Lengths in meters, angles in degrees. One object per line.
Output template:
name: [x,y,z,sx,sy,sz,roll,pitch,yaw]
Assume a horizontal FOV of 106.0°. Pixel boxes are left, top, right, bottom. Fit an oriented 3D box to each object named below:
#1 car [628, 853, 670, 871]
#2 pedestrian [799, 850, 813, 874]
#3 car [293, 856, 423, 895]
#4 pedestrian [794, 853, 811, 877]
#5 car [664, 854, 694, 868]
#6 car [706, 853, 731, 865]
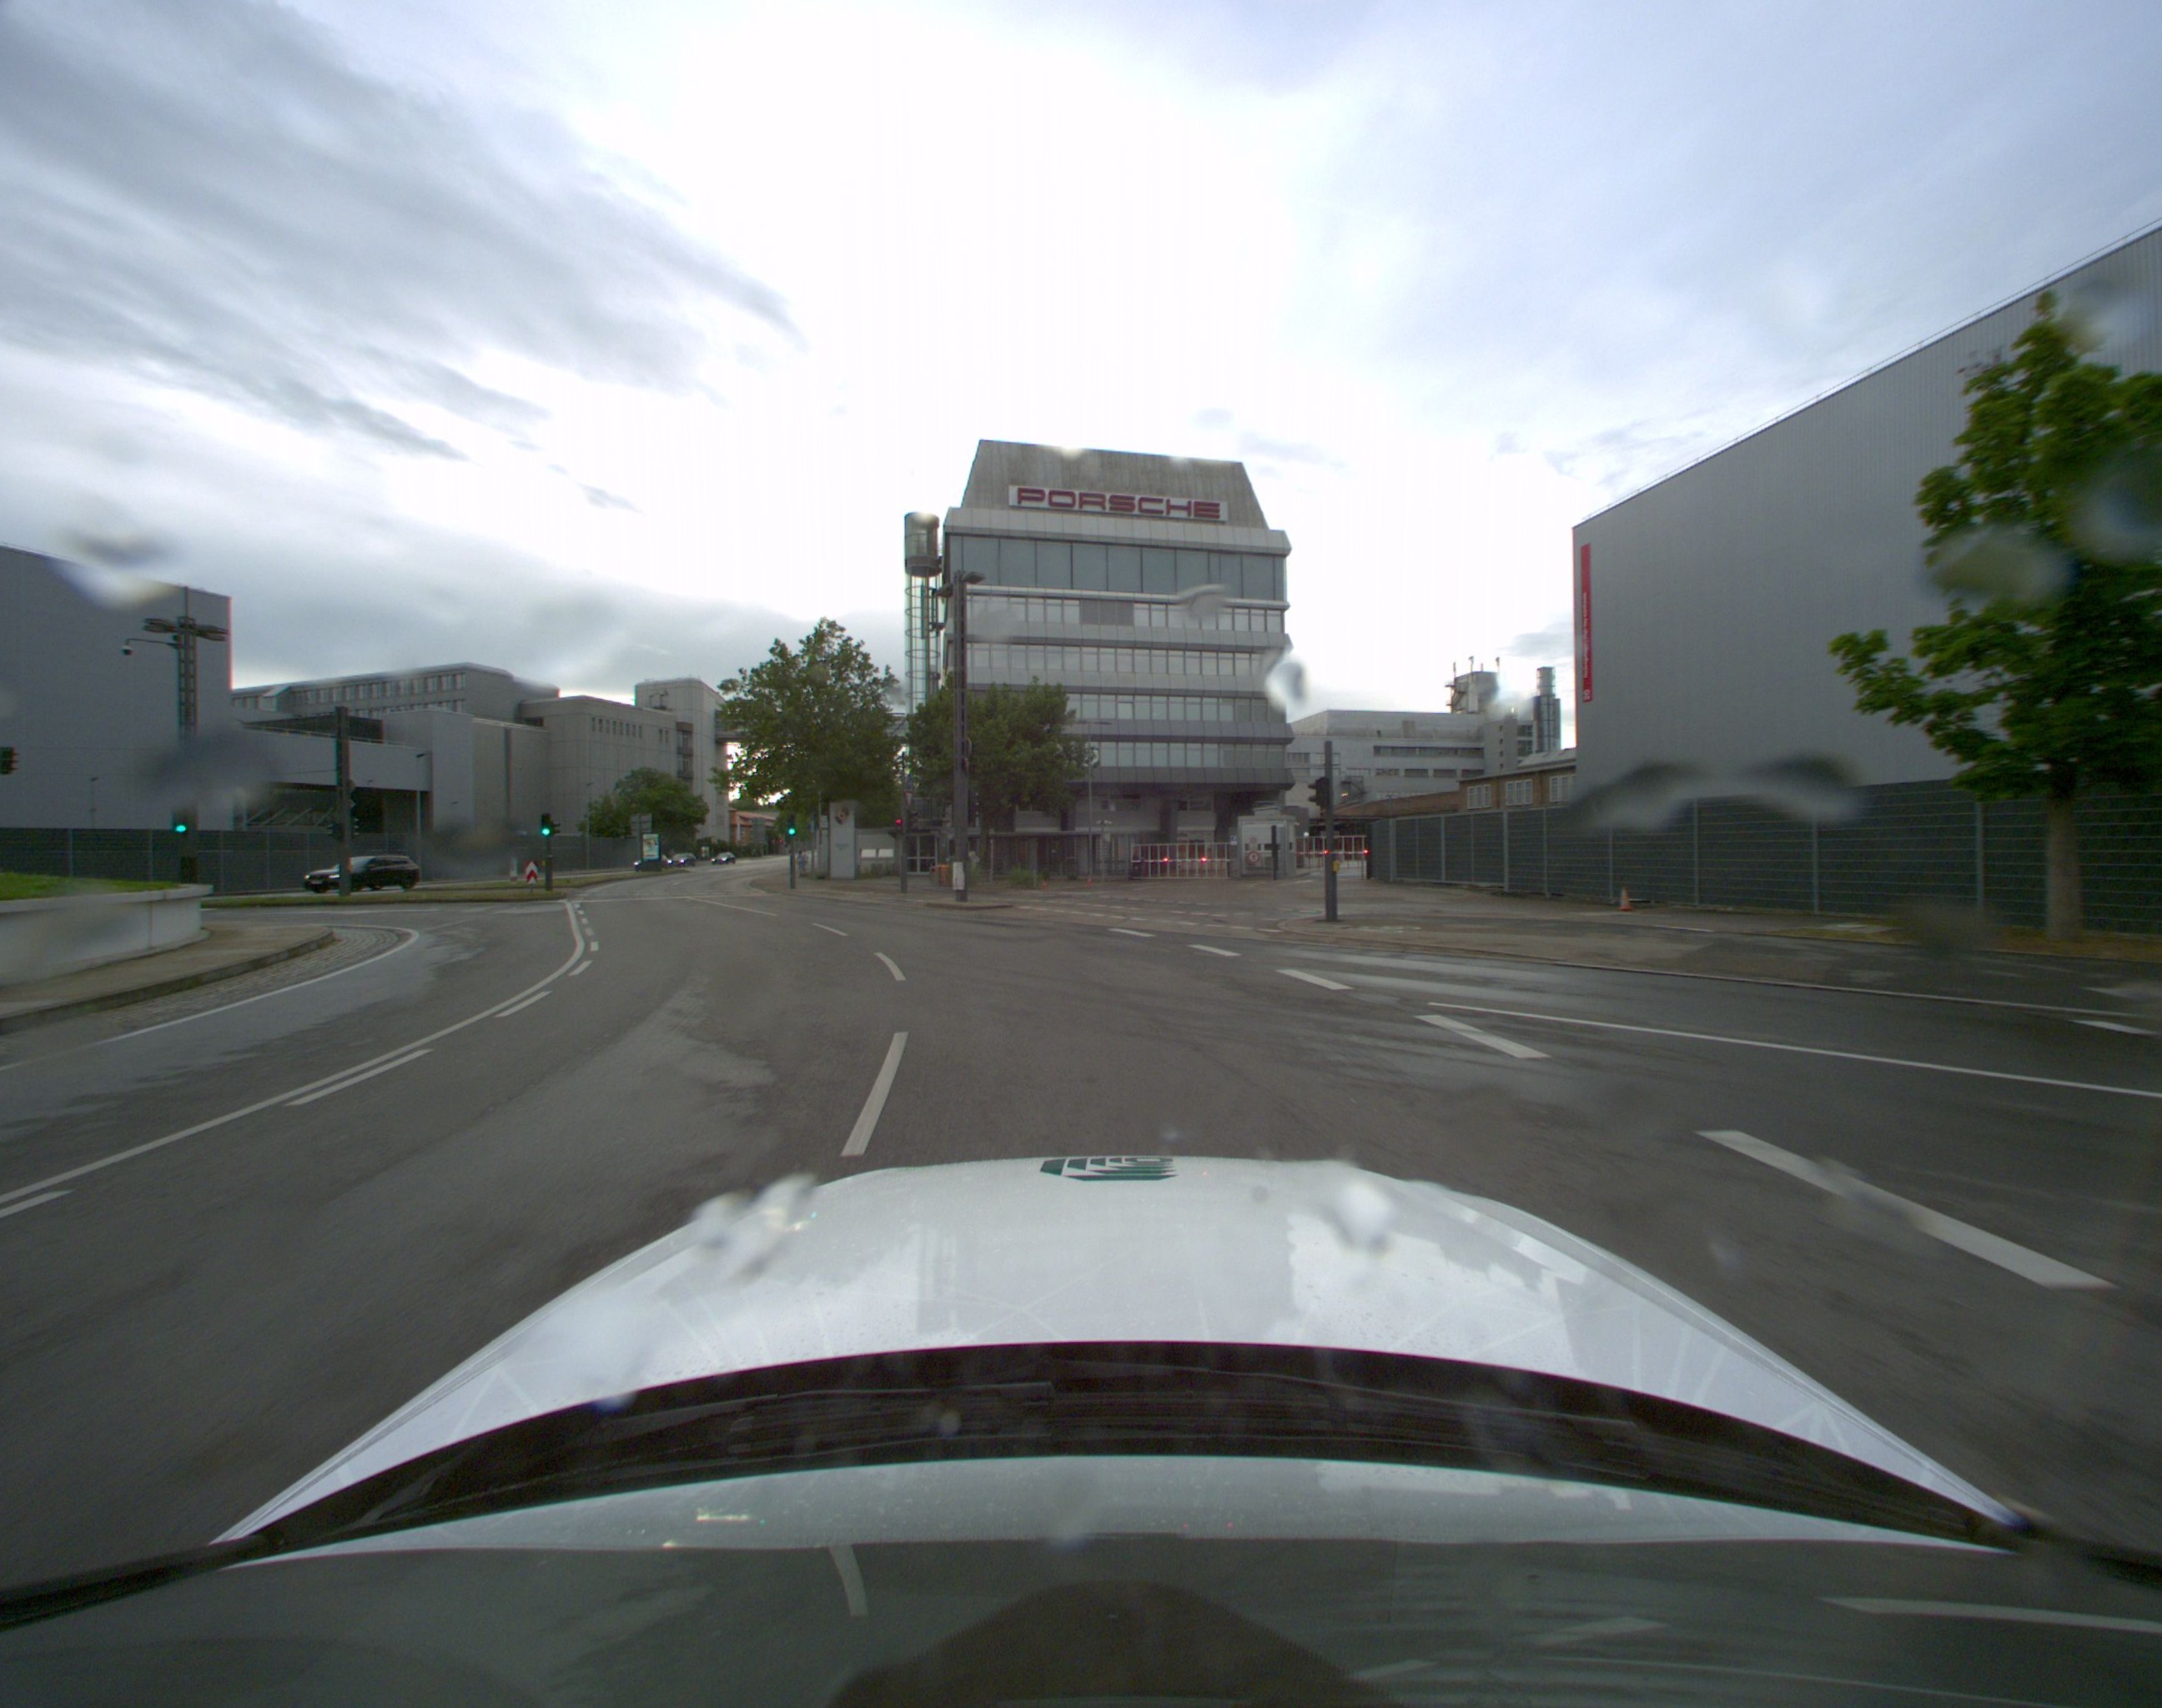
car: [-36.903,0.684,69.659,1.782,1.440,4.384,-1,1,-8]
pedestrian: [-18.419,0.529,54.583,0.708,1.592,0.839,-1,0,-7]
car: [-33.462,0.943,37.890,1.775,1.588,4.571,-1,1,4]
pedestrian: [-18.016,0.695,52.669,0.830,1.520,0.839,-1,0,-7]
car: [-43.318,0.728,87.901,1.785,1.454,4.541,-2,1,-13]
car: [-44.943,0.591,101.164,1.784,1.385,4.529,-3,1,-11]
